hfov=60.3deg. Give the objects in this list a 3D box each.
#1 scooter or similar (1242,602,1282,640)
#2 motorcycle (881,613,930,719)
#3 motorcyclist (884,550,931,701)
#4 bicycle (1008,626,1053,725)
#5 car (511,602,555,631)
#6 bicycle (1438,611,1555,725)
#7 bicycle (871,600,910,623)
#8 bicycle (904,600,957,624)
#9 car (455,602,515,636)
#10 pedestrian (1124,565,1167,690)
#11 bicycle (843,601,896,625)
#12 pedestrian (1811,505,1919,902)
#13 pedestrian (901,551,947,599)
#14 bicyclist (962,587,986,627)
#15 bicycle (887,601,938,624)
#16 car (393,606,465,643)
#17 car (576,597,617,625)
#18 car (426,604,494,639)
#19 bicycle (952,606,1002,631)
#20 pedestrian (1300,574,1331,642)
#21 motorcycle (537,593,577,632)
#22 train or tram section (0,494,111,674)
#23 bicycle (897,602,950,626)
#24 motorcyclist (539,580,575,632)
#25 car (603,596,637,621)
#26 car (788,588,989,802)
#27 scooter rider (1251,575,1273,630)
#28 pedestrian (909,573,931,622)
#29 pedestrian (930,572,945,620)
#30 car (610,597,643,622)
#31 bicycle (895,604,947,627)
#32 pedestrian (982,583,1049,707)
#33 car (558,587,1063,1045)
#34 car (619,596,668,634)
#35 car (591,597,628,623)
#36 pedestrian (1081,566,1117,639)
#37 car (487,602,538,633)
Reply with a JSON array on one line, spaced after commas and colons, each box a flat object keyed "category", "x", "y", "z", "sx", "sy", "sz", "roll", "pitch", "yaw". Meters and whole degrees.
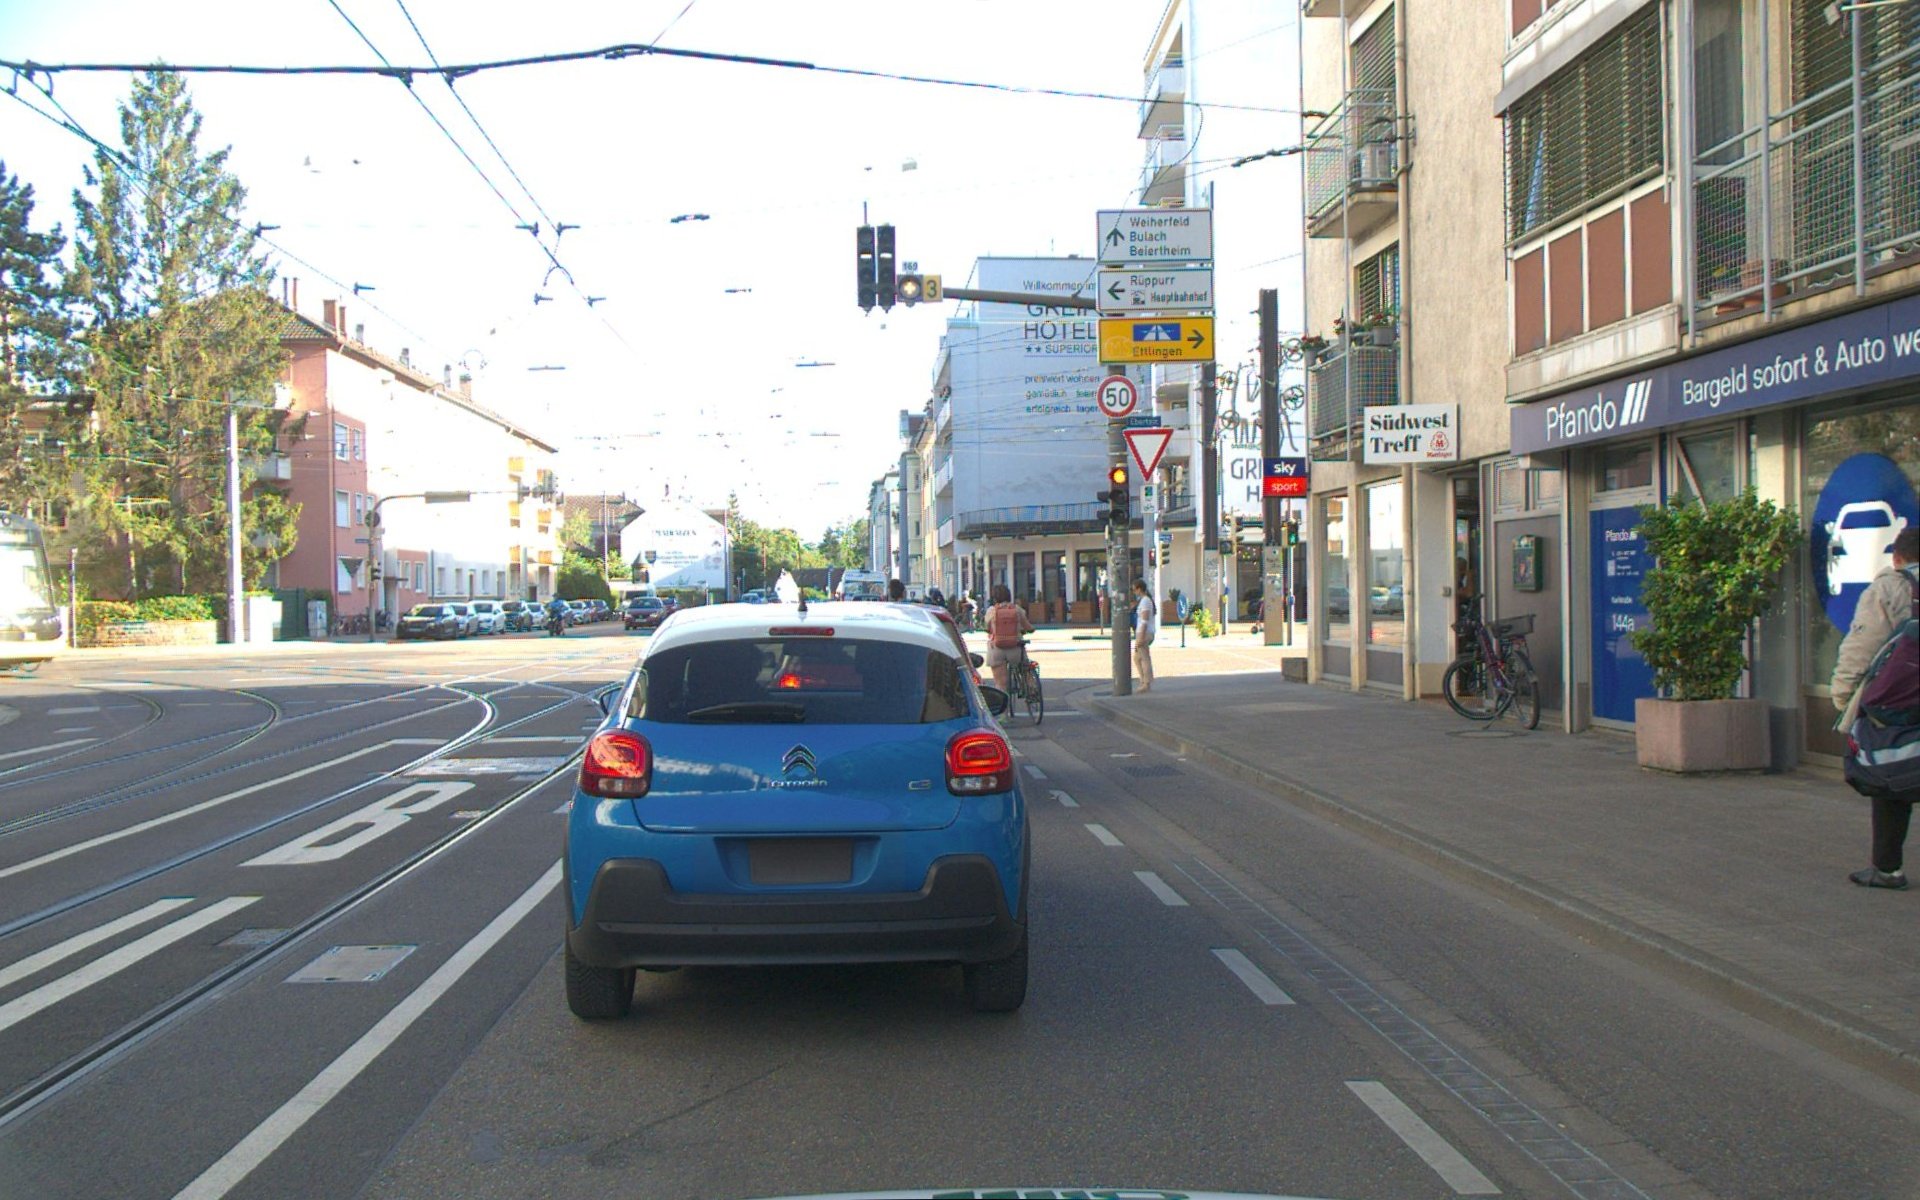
[{"category": "scooter or similar", "x": 10.373, "y": 0.724, "z": 56.837, "sx": 1.321, "sy": 1.291, "sz": 0.444, "roll": -1, "pitch": -2, "yaw": 8}, {"category": "motorcycle", "x": -0.622, "y": 0.736, "z": 19.411, "sx": 0.515, "sy": 1.159, "sz": 2.289, "roll": 1, "pitch": 0, "yaw": -1}, {"category": "motorcyclist", "x": -0.614, "y": 0.294, "z": 19.601, "sx": 0.516, "sy": 1.746, "sz": 0.717, "roll": 1, "pitch": -1, "yaw": -1}, {"category": "bicycle", "x": 0.862, "y": 0.911, "z": 20.539, "sx": 0.419, "sy": 1.142, "sz": 1.998, "roll": 1, "pitch": 0, "yaw": -1}, {"category": "car", "x": -23.647, "y": 0.912, "z": 91.653, "sx": 1.699, "sy": 1.524, "sz": 3.996, "roll": 1, "pitch": 0, "yaw": -5}, {"category": "bicycle", "x": 5.094, "y": 0.618, "z": 15.794, "sx": 0.531, "sy": 1.016, "sz": 1.705, "roll": 1, "pitch": 0, "yaw": -1}, {"category": "bicycle", "x": -2.931, "y": 0.477, "z": 69.399, "sx": 1.751, "sy": 0.917, "sz": 0.365, "roll": 1, "pitch": -1, "yaw": 34}, {"category": "bicycle", "x": -1.167, "y": 0.481, "z": 65.917, "sx": 2.093, "sy": 0.917, "sz": 0.366, "roll": 1, "pitch": -1, "yaw": -10}, {"category": "car", "x": -22.620, "y": 0.878, "z": 78.926, "sx": 1.751, "sy": 1.537, "sz": 4.148, "roll": 1, "pitch": 0, "yaw": -2}, {"category": "pedestrian", "x": 2.721, "y": 0.399, "z": 24.315, "sx": 0.507, "sy": 1.814, "sz": 0.595, "roll": 1, "pitch": -1, "yaw": -3}, {"category": "bicycle", "x": -3.618, "y": 0.527, "z": 66.252, "sx": 2.093, "sy": 0.917, "sz": 0.366, "roll": 1, "pitch": -1, "yaw": -10}, {"category": "pedestrian", "x": 4.277, "y": 0.431, "z": 7.137, "sx": 0.808, "sy": 1.620, "sz": 0.751, "roll": 1, "pitch": -1, "yaw": -1}, {"category": "pedestrian", "x": -1.604, "y": -1.084, "z": 73.519, "sx": 1.953, "sy": 2.049, "sz": 3.999, "roll": 1, "pitch": 0, "yaw": -1}, {"category": "bicyclist", "x": 0.516, "y": 0.262, "z": 61.620, "sx": 0.730, "sy": 1.503, "sz": 0.563, "roll": 1, "pitch": -1, "yaw": 19}, {"category": "bicycle", "x": -1.960, "y": 0.502, "z": 68.251, "sx": 2.093, "sy": 0.917, "sz": 0.366, "roll": 1, "pitch": -1, "yaw": -10}, {"category": "car", "x": -21.935, "y": 1.006, "z": 68.477, "sx": 1.757, "sy": 1.446, "sz": 3.994, "roll": 1, "pitch": 0, "yaw": -2}, {"category": "car", "x": -23.271, "y": 0.692, "z": 106.049, "sx": 1.944, "sy": 1.716, "sz": 3.997, "roll": 1, "pitch": 0, "yaw": -4}, {"category": "car", "x": -22.411, "y": 0.952, "z": 74.276, "sx": 1.778, "sy": 1.524, "sz": 4.299, "roll": 1, "pitch": 0, "yaw": -1}, {"category": "bicycle", "x": 0.623, "y": 0.684, "z": 61.558, "sx": 1.814, "sy": 0.919, "sz": 0.350, "roll": 1, "pitch": -1, "yaw": 19}, {"category": "pedestrian", "x": 8.673, "y": 0.196, "z": 40.339, "sx": 0.720, "sy": 1.629, "sz": 0.749, "roll": 1, "pitch": -1, "yaw": 12}, {"category": "motorcycle", "x": -16.262, "y": 0.480, "z": 66.819, "sx": 0.905, "sy": 1.512, "sz": 3.723, "roll": 1, "pitch": 0, "yaw": -4}, {"category": "train or tram section", "x": -24.994, "y": -0.242, "z": 36.733, "sx": 12.324, "sy": 3.657, "sz": 3.074, "roll": -1, "pitch": 0, "yaw": 18}, {"category": "bicycle", "x": -1.488, "y": 0.567, "z": 67.095, "sx": 2.093, "sy": 0.917, "sz": 0.366, "roll": 1, "pitch": -1, "yaw": -10}, {"category": "motorcyclist", "x": -16.258, "y": 0.222, "z": 66.786, "sx": 1.162, "sy": 2.049, "sz": 1.274, "roll": -1, "pitch": 0, "yaw": -4}, {"category": "car", "x": -23.914, "y": 0.576, "z": 116.337, "sx": 1.797, "sy": 1.716, "sz": 3.997, "roll": 1, "pitch": 0, "yaw": -4}, {"category": "car", "x": -0.527, "y": 0.681, "z": 13.200, "sx": 1.395, "sy": 1.493, "sz": 2.923, "roll": -1, "pitch": 0, "yaw": -1}, {"category": "scooter rider", "x": 10.383, "y": 0.090, "z": 56.862, "sx": 0.706, "sy": 1.865, "sz": 0.718, "roll": -1, "pitch": -2, "yaw": 9}, {"category": "pedestrian", "x": -1.674, "y": -0.094, "z": 69.109, "sx": 0.625, "sy": 2.049, "sz": 0.715, "roll": 1, "pitch": -1, "yaw": -37}, {"category": "pedestrian", "x": -0.960, "y": -0.166, "z": 70.141, "sx": 0.565, "sy": 2.049, "sz": 0.625, "roll": 1, "pitch": -1, "yaw": -3}, {"category": "car", "x": -24.350, "y": 0.699, "z": 120.902, "sx": 1.809, "sy": 1.716, "sz": 3.871, "roll": 1, "pitch": 0, "yaw": -4}, {"category": "bicycle", "x": -1.583, "y": 0.633, "z": 67.594, "sx": 2.093, "sy": 0.917, "sz": 0.366, "roll": 1, "pitch": -1, "yaw": -10}, {"category": "pedestrian", "x": 0.674, "y": 0.541, "z": 20.247, "sx": 0.761, "sy": 1.486, "sz": 0.681, "roll": 1, "pitch": -1, "yaw": -1}, {"category": "car", "x": -0.509, "y": 0.712, "z": 7.151, "sx": 1.620, "sy": 1.469, "sz": 3.522, "roll": 1, "pitch": 0, "yaw": -1}, {"category": "car", "x": -14.550, "y": 0.685, "z": 76.183, "sx": 1.740, "sy": 1.695, "sz": 3.853, "roll": 1, "pitch": 0, "yaw": -4}, {"category": "car", "x": -23.484, "y": 0.673, "z": 110.908, "sx": 1.845, "sy": 1.716, "sz": 3.997, "roll": 1, "pitch": 0, "yaw": -4}, {"category": "pedestrian", "x": 3.940, "y": 0.072, "z": 46.953, "sx": 0.907, "sy": 2.049, "sz": 0.759, "roll": 1, "pitch": -1, "yaw": -1}, {"category": "car", "x": -23.145, "y": 0.896, "z": 85.717, "sx": 1.750, "sy": 1.524, "sz": 3.997, "roll": 1, "pitch": 0, "yaw": -4}]
